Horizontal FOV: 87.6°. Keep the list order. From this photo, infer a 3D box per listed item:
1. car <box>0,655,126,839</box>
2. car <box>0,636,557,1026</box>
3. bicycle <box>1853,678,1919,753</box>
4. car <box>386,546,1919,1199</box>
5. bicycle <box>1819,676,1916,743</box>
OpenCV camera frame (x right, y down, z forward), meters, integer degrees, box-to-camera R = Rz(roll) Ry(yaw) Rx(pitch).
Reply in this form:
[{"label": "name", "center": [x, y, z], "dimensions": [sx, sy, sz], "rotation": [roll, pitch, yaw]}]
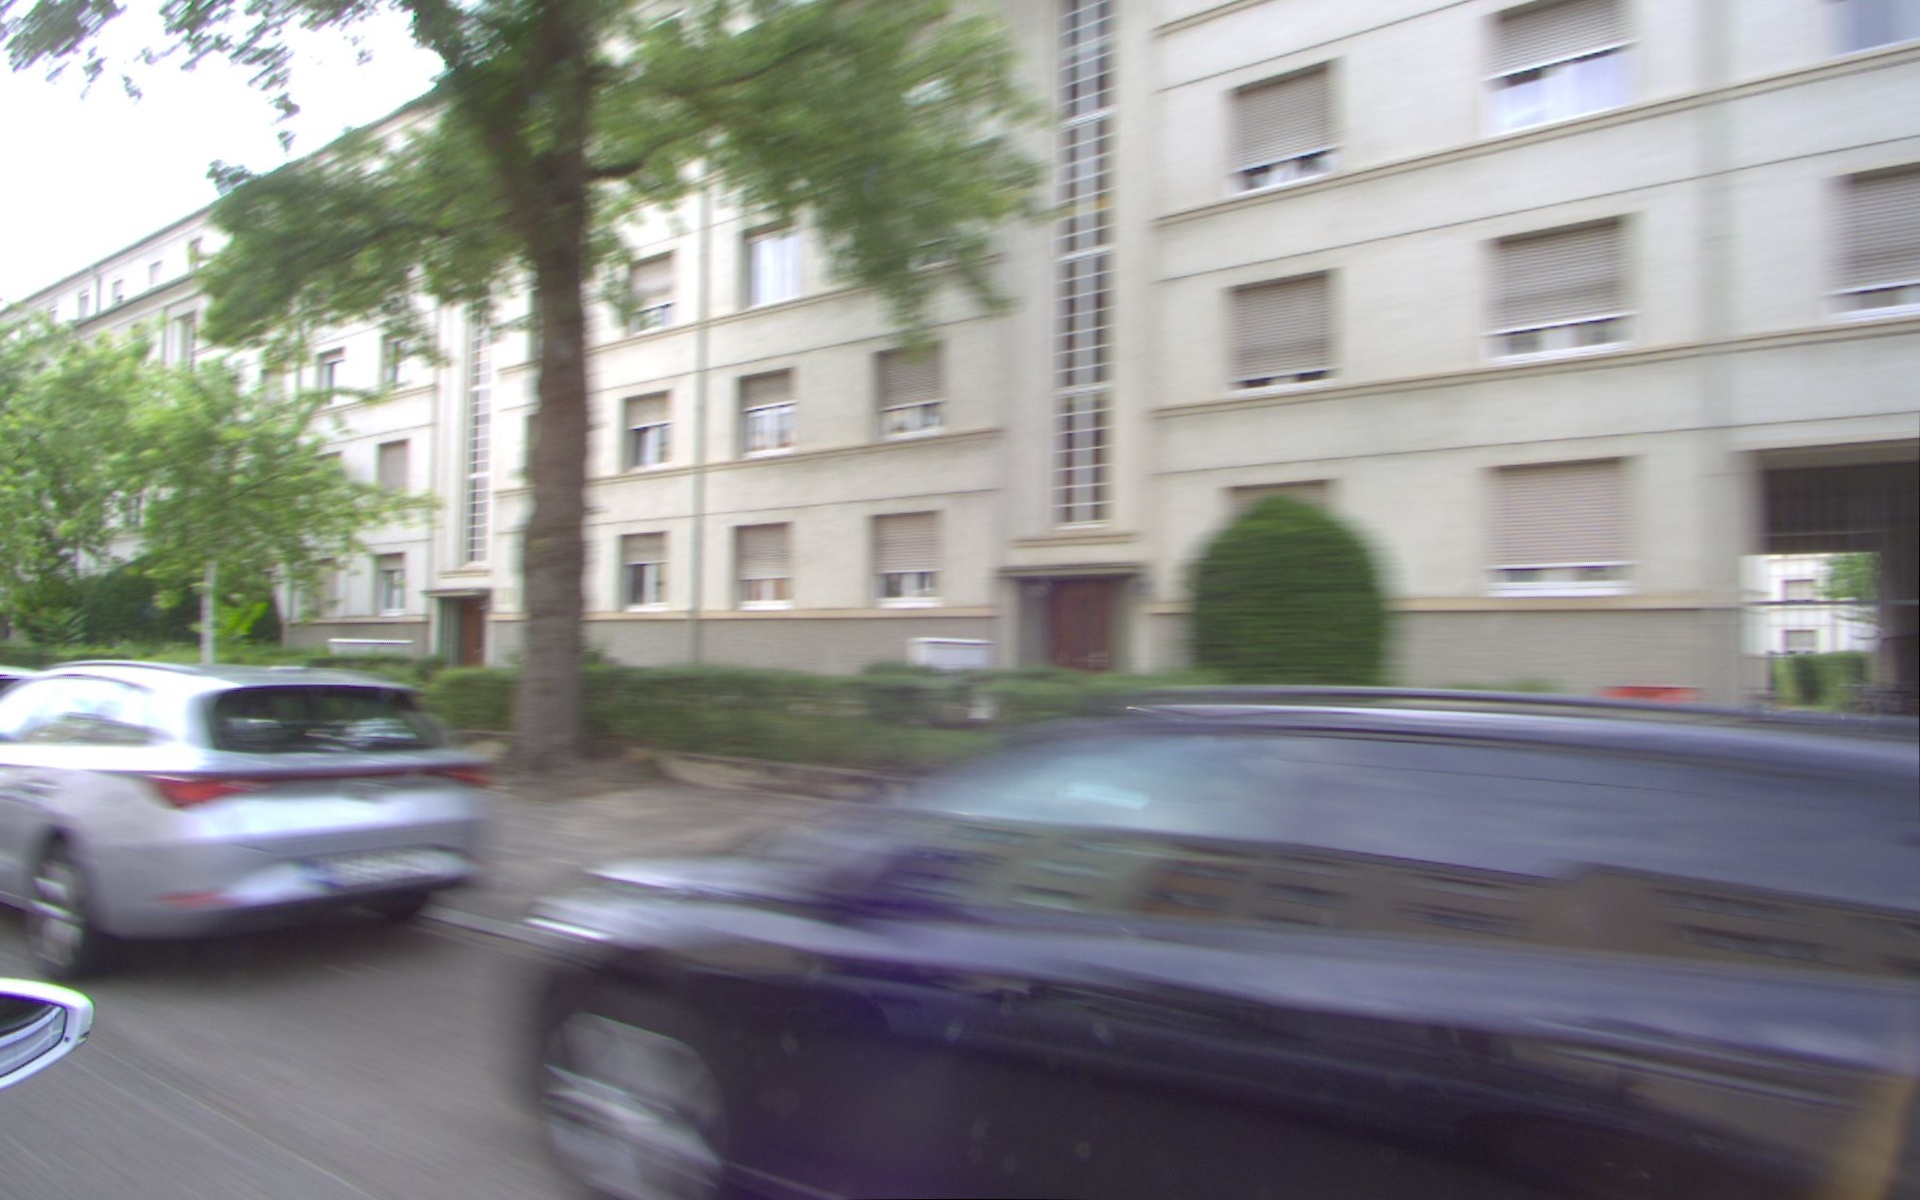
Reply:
[{"label": "car", "center": [-9.065, 1.160, 8.640], "dimensions": [3.796, 1.417, 1.669], "rotation": [-1, -5, 32]}, {"label": "car", "center": [-4.586, 0.991, 5.820], "dimensions": [4.649, 1.487, 1.696], "rotation": [-1, -5, 32]}, {"label": "bicycle", "center": [15.418, 1.852, 16.299], "dimensions": [0.865, 1.089, 2.648], "rotation": [0, -3, 32]}, {"label": "car", "center": [0.633, 0.755, 2.721], "dimensions": [4.684, 1.487, 1.696], "rotation": [-1, -5, 31]}, {"label": "bicycle", "center": [16.830, 1.997, 18.636], "dimensions": [0.865, 1.089, 2.648], "rotation": [0, -3, 32]}]
